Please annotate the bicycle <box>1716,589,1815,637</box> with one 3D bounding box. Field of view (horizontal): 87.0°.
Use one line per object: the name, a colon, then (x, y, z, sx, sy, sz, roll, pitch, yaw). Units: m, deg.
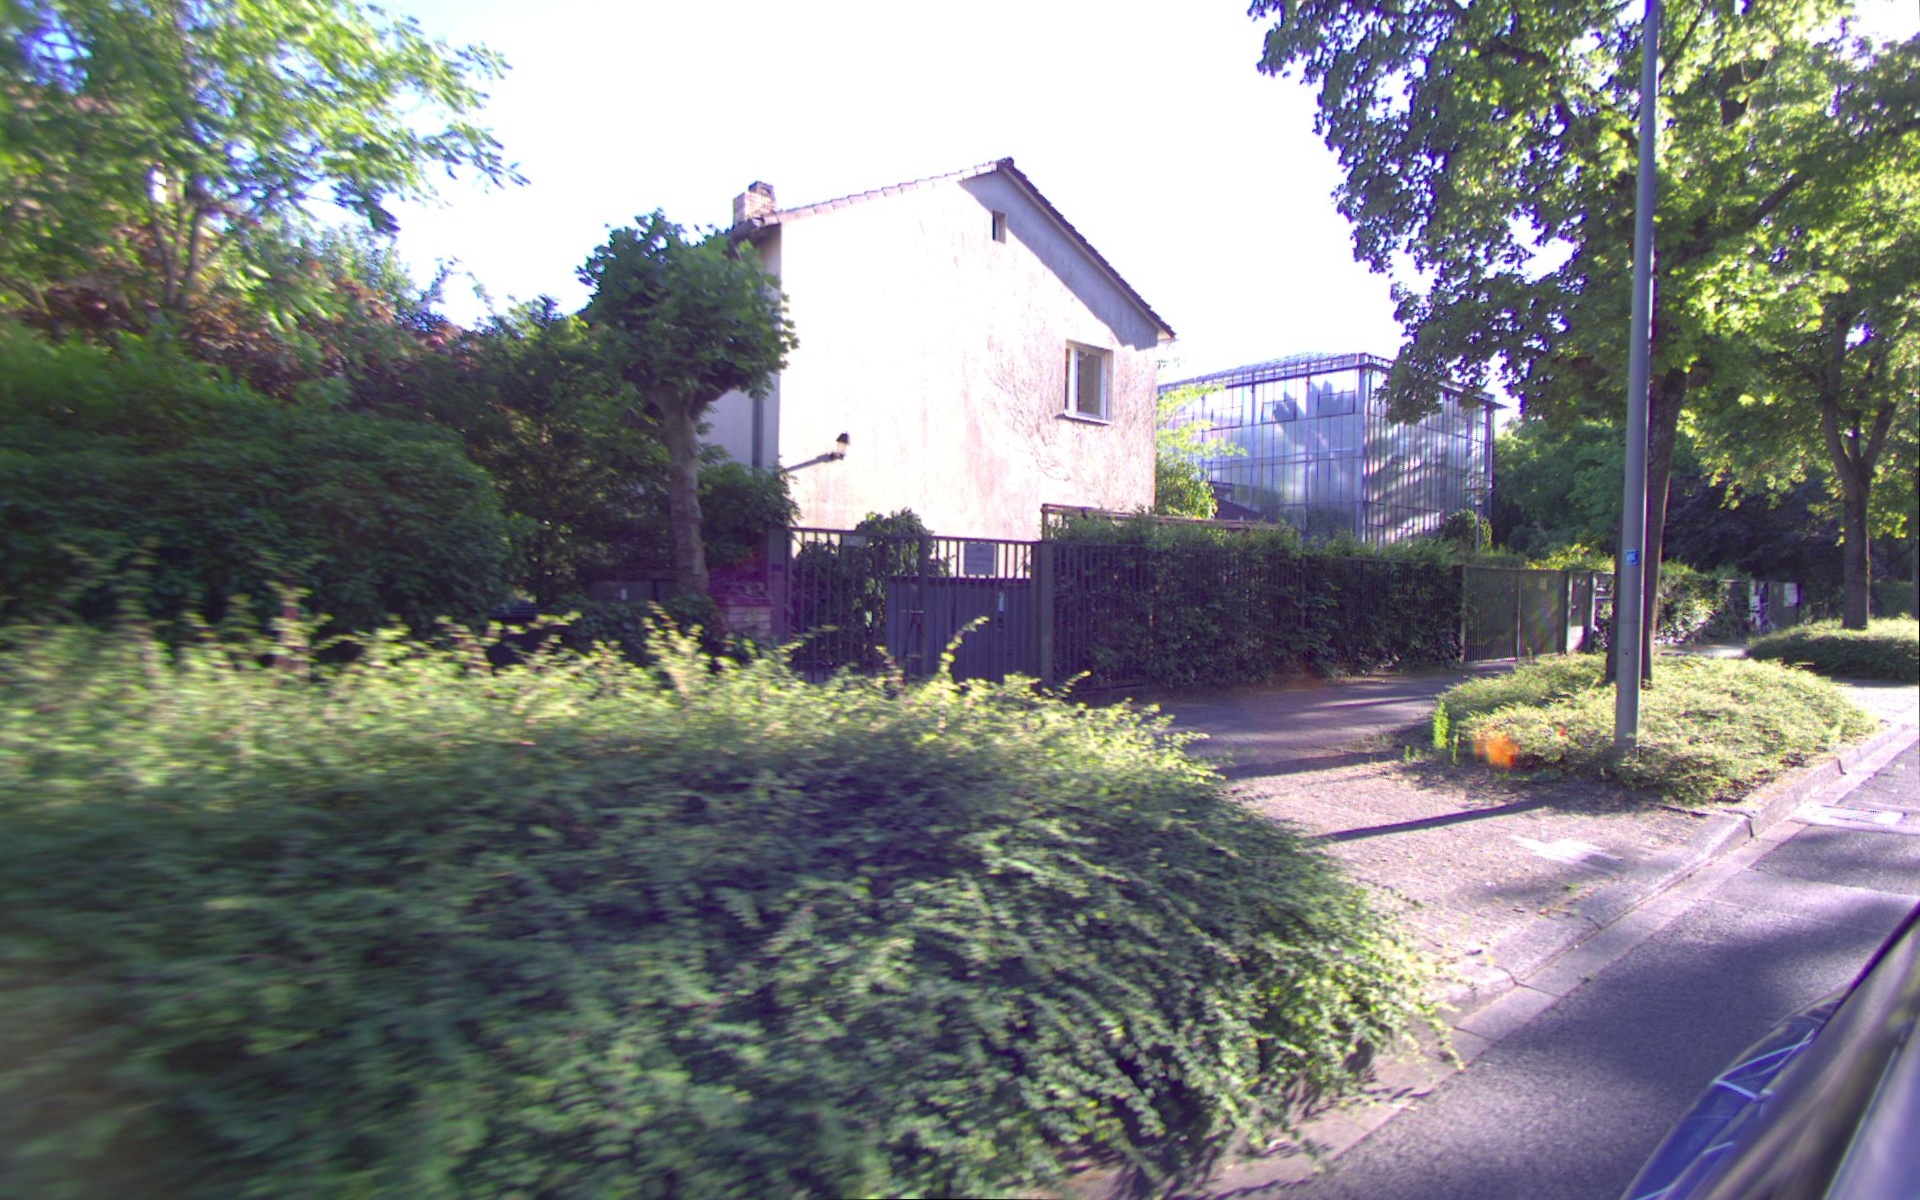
bicycle: (21.995, 0.342, 27.645, 2.277, 1.215, 0.889, 1, 2, -16)
